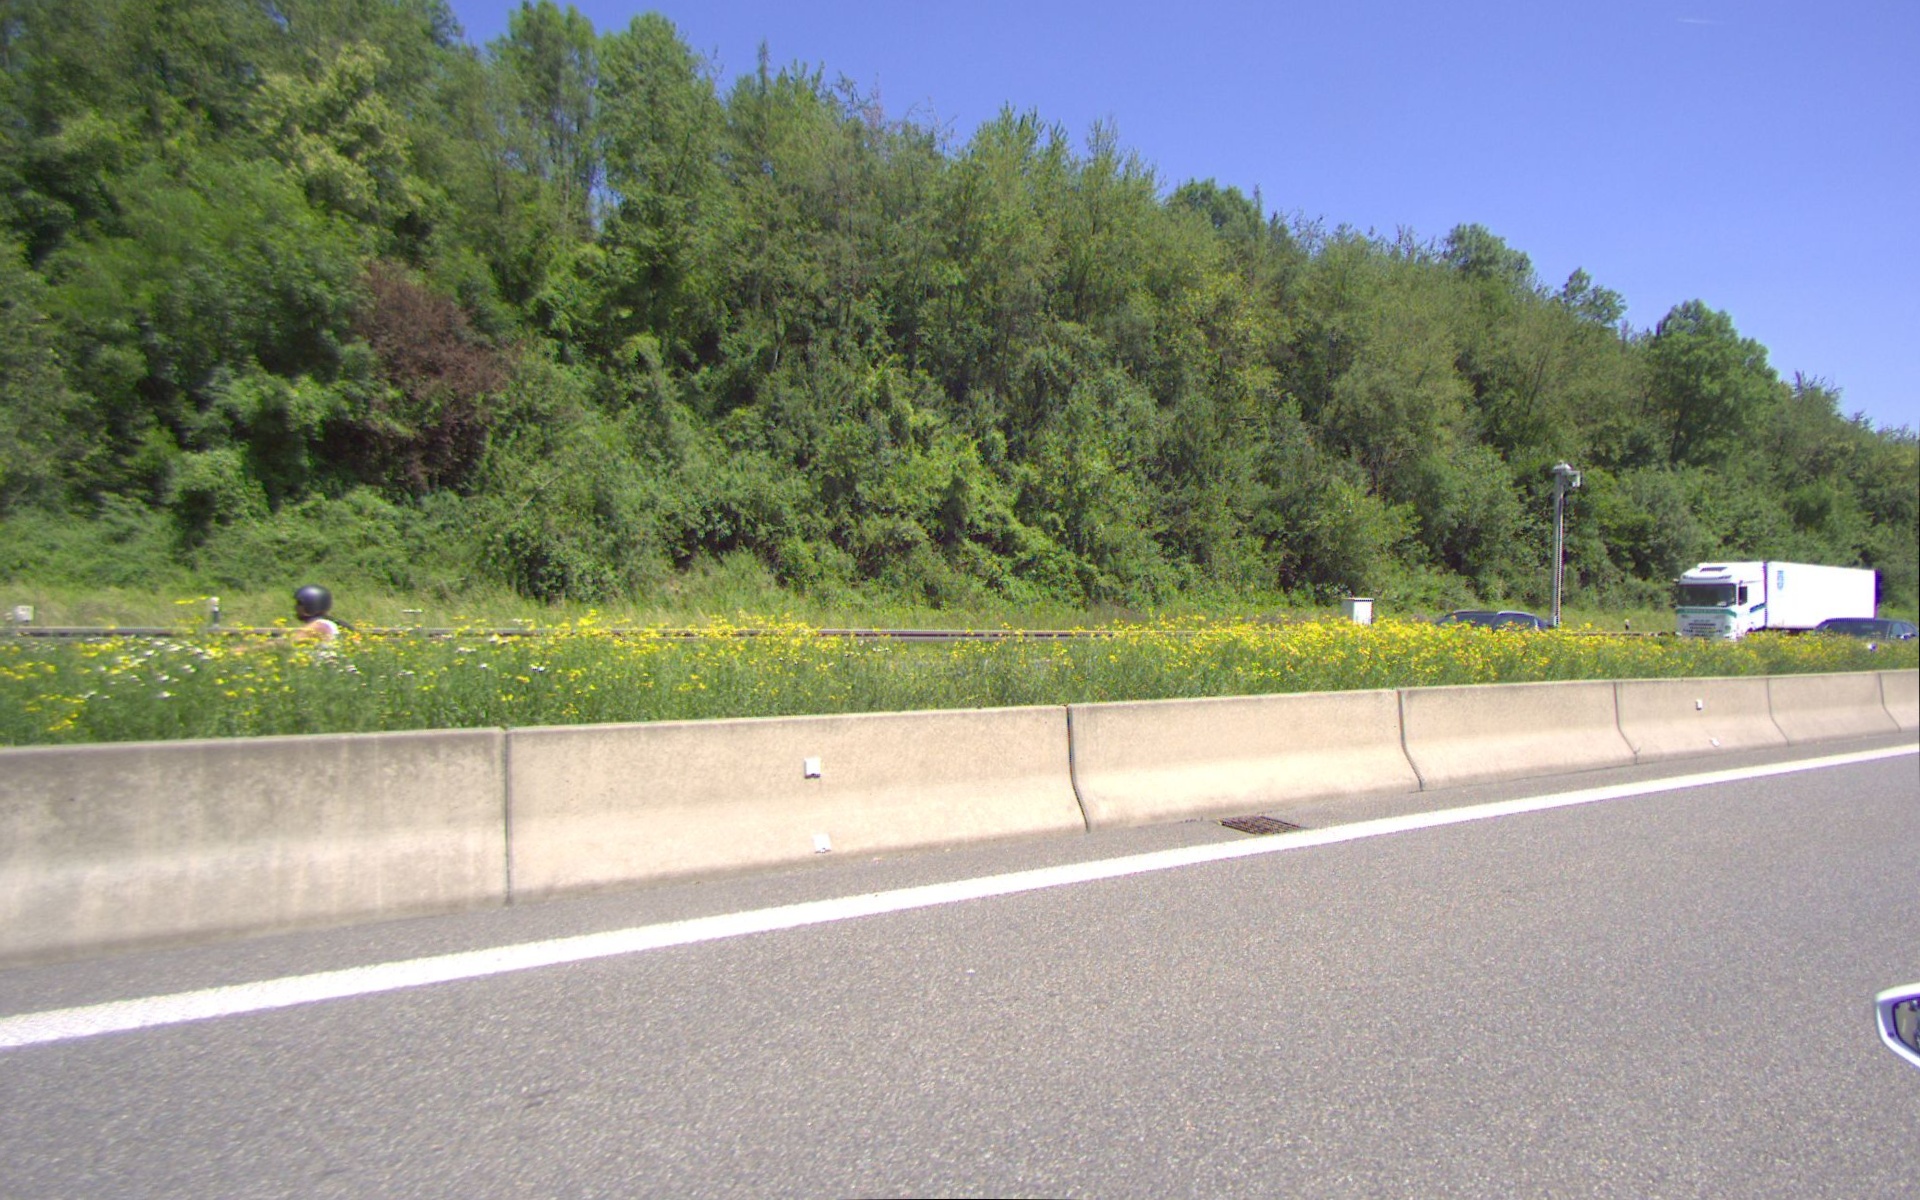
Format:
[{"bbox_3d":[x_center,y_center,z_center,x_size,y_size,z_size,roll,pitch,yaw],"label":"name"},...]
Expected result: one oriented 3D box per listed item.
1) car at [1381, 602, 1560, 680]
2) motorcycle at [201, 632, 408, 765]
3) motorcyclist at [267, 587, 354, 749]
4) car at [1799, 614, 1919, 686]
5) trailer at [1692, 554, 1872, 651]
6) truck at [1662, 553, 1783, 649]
[{"bbox_3d":[11.968,0.915,23.508,3.934,1.663,1.939,1,0,-31],"label":"car"},{"bbox_3d":[-5.643,0.816,8.745,1.449,1.047,0.620,1,0,-30],"label":"motorcycle"},{"bbox_3d":[-5.641,0.568,8.749,0.570,1.352,0.620,1,0,-29],"label":"motorcyclist"},{"bbox_3d":[23.919,1.244,26.123,4.033,1.700,1.984,1,0,-31],"label":"car"},{"bbox_3d":[40.799,0.274,49.570,13.782,4.263,2.699,2,0,-33],"label":"trailer"},{"bbox_3d":[34.748,0.101,45.738,5.145,4.144,2.676,2,0,-32],"label":"truck"}]
